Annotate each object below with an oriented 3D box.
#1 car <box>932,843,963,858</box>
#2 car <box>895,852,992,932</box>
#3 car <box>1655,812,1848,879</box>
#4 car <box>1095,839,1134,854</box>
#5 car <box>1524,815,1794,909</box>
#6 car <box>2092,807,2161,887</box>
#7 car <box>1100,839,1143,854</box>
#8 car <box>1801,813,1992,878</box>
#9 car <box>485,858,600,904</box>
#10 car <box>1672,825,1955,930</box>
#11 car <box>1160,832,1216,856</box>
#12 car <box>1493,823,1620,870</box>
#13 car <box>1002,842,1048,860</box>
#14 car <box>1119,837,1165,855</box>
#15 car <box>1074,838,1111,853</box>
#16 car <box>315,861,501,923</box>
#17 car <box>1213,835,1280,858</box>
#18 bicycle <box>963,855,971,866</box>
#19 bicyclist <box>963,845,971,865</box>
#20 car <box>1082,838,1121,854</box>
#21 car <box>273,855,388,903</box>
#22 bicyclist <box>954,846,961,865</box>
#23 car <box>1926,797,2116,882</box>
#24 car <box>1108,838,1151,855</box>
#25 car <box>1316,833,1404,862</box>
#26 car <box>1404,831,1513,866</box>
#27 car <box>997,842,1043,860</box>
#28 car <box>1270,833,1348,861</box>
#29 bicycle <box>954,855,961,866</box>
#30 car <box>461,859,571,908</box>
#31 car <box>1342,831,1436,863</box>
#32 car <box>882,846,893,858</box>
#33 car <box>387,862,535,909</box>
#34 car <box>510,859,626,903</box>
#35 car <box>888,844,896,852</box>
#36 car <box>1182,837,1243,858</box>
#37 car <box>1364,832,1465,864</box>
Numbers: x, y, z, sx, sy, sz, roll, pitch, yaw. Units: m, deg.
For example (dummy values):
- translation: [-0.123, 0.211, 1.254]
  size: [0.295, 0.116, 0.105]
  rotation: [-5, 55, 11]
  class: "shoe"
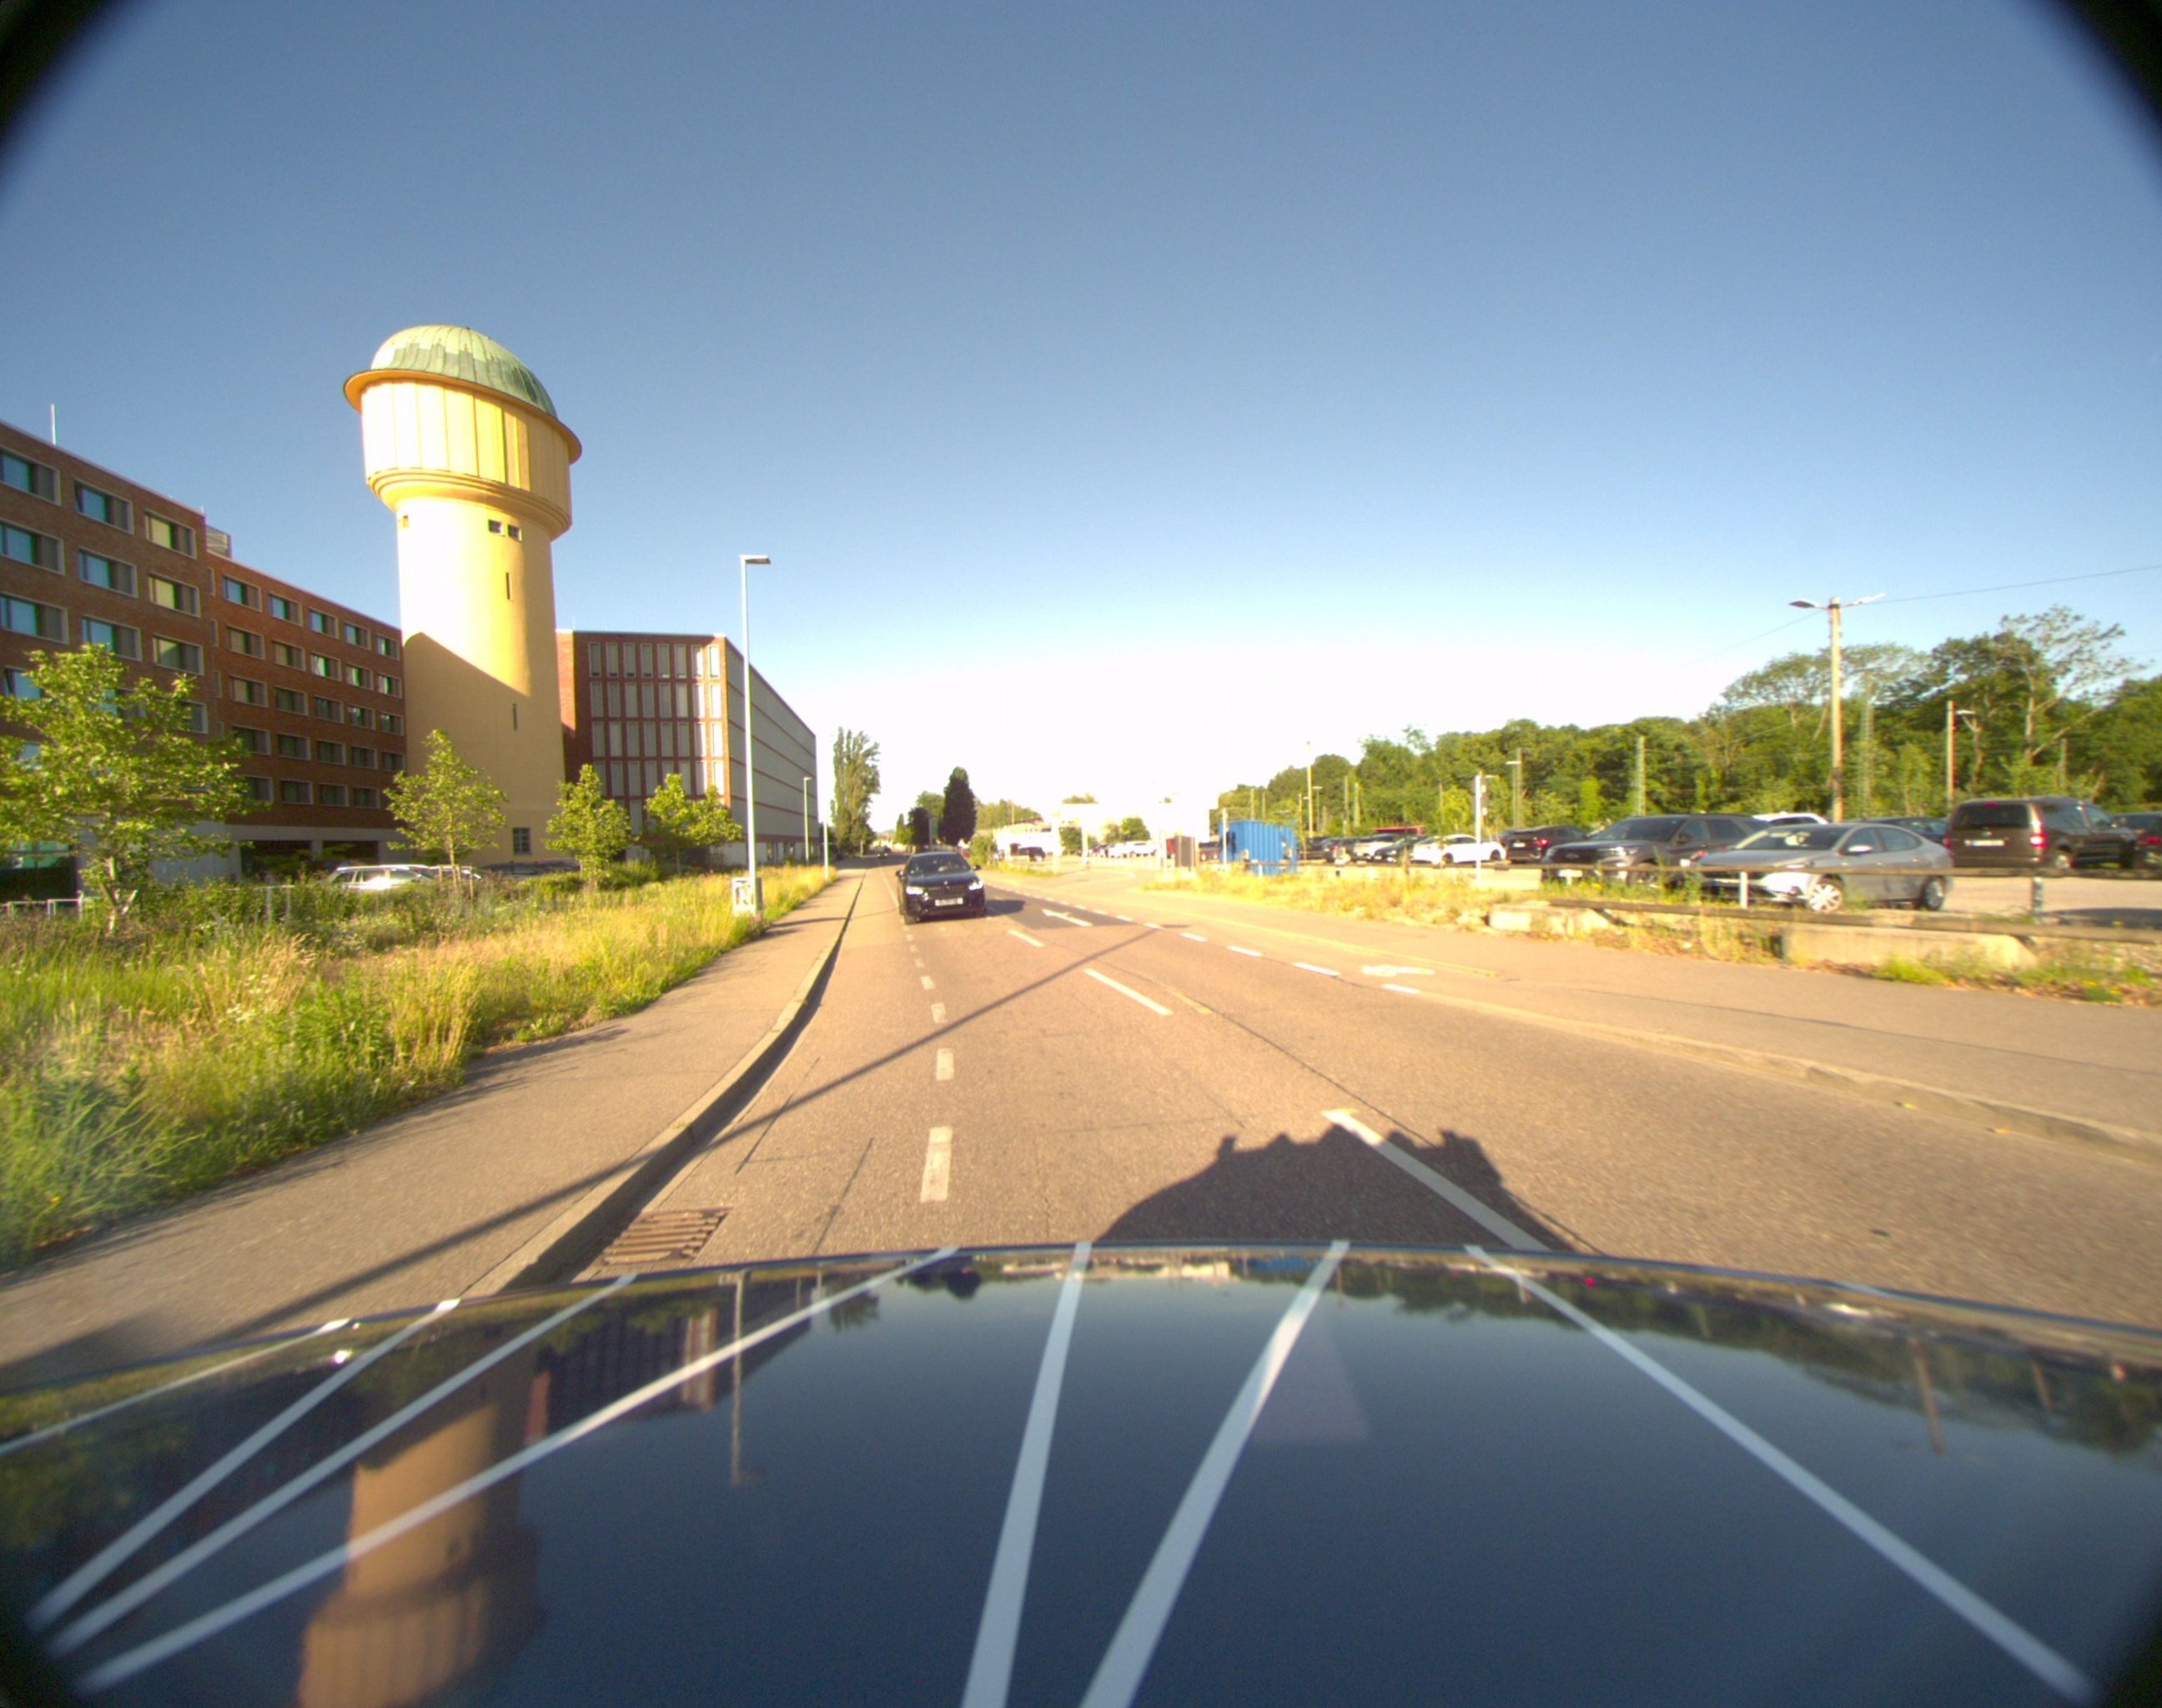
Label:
- translation: [-26.754, -0.748, 152.357]
  size: [5.776, 2.686, 1.997]
  rotation: [-3, 1, -14]
  class: "car"
- translation: [-3.720, 0.873, 19.903]
  size: [2.049, 1.705, 4.744]
  rotation: [-3, 1, -15]
  class: "car"
- translation: [20.643, -0.277, 23.454]
  size: [4.703, 1.685, 2.037]
  rotation: [-4, 1, -12]
  class: "car"
- translation: [3.764, -0.831, 85.481]
  size: [4.015, 1.479, 1.763]
  rotation: [-4, 1, -19]
  class: "car"
- translation: [11.764, 0.136, 15.551]
  size: [4.541, 1.733, 2.065]
  rotation: [0, 0, -16]
  class: "car"
- translation: [23.464, -0.204, 15.538]
  size: [4.002, 1.585, 1.997]
  rotation: [-2, 1, -15]
  class: "car"
- translation: [4.410, -0.810, 82.792]
  size: [4.160, 1.479, 1.763]
  rotation: [-4, 1, -19]
  class: "car"
- translation: [22.122, -0.248, 20.652]
  size: [3.944, 1.479, 1.889]
  rotation: [-4, 1, -15]
  class: "car"
- translation: [-25.908, 1.272, 36.708]
  size: [4.000, 1.969, 1.998]
  rotation: [-2, 1, -11]
  class: "car"
- translation: [12.281, 0.323, 12.773]
  size: [3.928, 1.445, 1.836]
  rotation: [-2, 1, -19]
  class: "car"
- translation: [9.321, -0.881, 66.384]
  size: [4.446, 1.767, 1.868]
  rotation: [-3, 1, -8]
  class: "car"
- translation: [19.028, -0.318, 30.447]
  size: [4.205, 1.580, 1.984]
  rotation: [-4, 1, -16]
  class: "car"
- translation: [-6.012, -0.329, 81.540]
  size: [4.659, 1.731, 1.799]
  rotation: [-4, 1, -16]
  class: "car"
- translation: [6.302, -0.826, 78.304]
  size: [4.300, 1.538, 1.824]
  rotation: [-4, 1, -18]
  class: "car"
- translation: [1.409, -1.017, 93.622]
  size: [4.312, 1.600, 1.740]
  rotation: [-4, 2, -35]
  class: "car"
- translation: [-23.198, 1.259, 26.394]
  size: [4.334, 1.818, 1.997]
  rotation: [-2, 1, -14]
  class: "car"
- translation: [12.204, -0.548, 56.088]
  size: [4.449, 1.370, 1.867]
  rotation: [-4, 1, -16]
  class: "car"
- translation: [-11.080, 0.642, 73.923]
  size: [0.558, 1.058, 1.722]
  rotation: [-3, 1, -13]
  class: "bicycle"
- translation: [-11.080, 0.096, 73.871]
  size: [0.569, 1.860, 0.852]
  rotation: [-3, 1, -14]
  class: "bicyclist"
- translation: [2.498, -0.952, 91.265]
  size: [4.328, 1.615, 1.782]
  rotation: [-4, 2, -34]
  class: "car"
- translation: [-38.971, 1.221, 39.650]
  size: [1.869, 2.251, 4.931]
  rotation: [-2, 1, -13]
  class: "car"
- translation: [-12.230, 0.116, 75.401]
  size: [0.569, 1.860, 0.852]
  rotation: [-3, 1, -14]
  class: "bicyclist"
- translation: [22.475, -0.358, 18.177]
  size: [3.783, 1.724, 1.768]
  rotation: [-4, 2, -21]
  class: "car"
- translation: [5.103, -0.795, 80.381]
  size: [4.161, 1.477, 1.758]
  rotation: [-4, 1, -19]
  class: "car"
- translation: [15.999, -0.387, 43.623]
  size: [4.449, 1.421, 1.867]
  rotation: [-4, 1, -16]
  class: "car"
- translation: [17.754, -0.259, 35.775]
  size: [4.449, 1.370, 1.867]
  rotation: [-4, 1, -16]
  class: "car"
- translation: [-6.755, -0.306, 84.189]
  size: [4.817, 1.790, 1.997]
  rotation: [-3, 1, -15]
  class: "car"
- translation: [14.629, -0.452, 48.887]
  size: [4.449, 1.505, 1.867]
  rotation: [-4, 1, -16]
  class: "car"
- translation: [-12.226, 0.643, 75.439]
  size: [0.503, 1.118, 1.564]
  rotation: [-3, 1, -13]
  class: "bicycle"
- translation: [-25.625, 1.296, 34.593]
  size: [3.485, 2.010, 1.834]
  rotation: [-2, 1, -13]
  class: "car"
- translation: [16.609, -0.375, 41.023]
  size: [4.449, 1.458, 1.867]
  rotation: [-4, 1, -16]
  class: "car"
- translation: [-35.300, -0.417, 138.594]
  size: [2.001, 2.002, 3.994]
  rotation: [-2, 1, -15]
  class: "car"
- translation: [-23.921, 1.187, 29.462]
  size: [4.000, 1.541, 1.832]
  rotation: [-2, 1, -11]
  class: "car"
- translation: [-26.691, 1.362, 39.714]
  size: [4.533, 2.002, 1.997]
  rotation: [-2, 1, -12]
  class: "car"
- translation: [-52.331, -1.640, 210.814]
  size: [2.001, 2.002, 3.994]
  rotation: [-2, 1, -15]
  class: "car"
- translation: [10.593, -0.538, 61.438]
  size: [4.447, 1.436, 1.920]
  rotation: [-3, 1, -9]
  class: "car"
- translation: [16.832, -0.317, 38.380]
  size: [4.449, 1.435, 1.867]
  rotation: [-3, 1, -16]
  class: "car"
